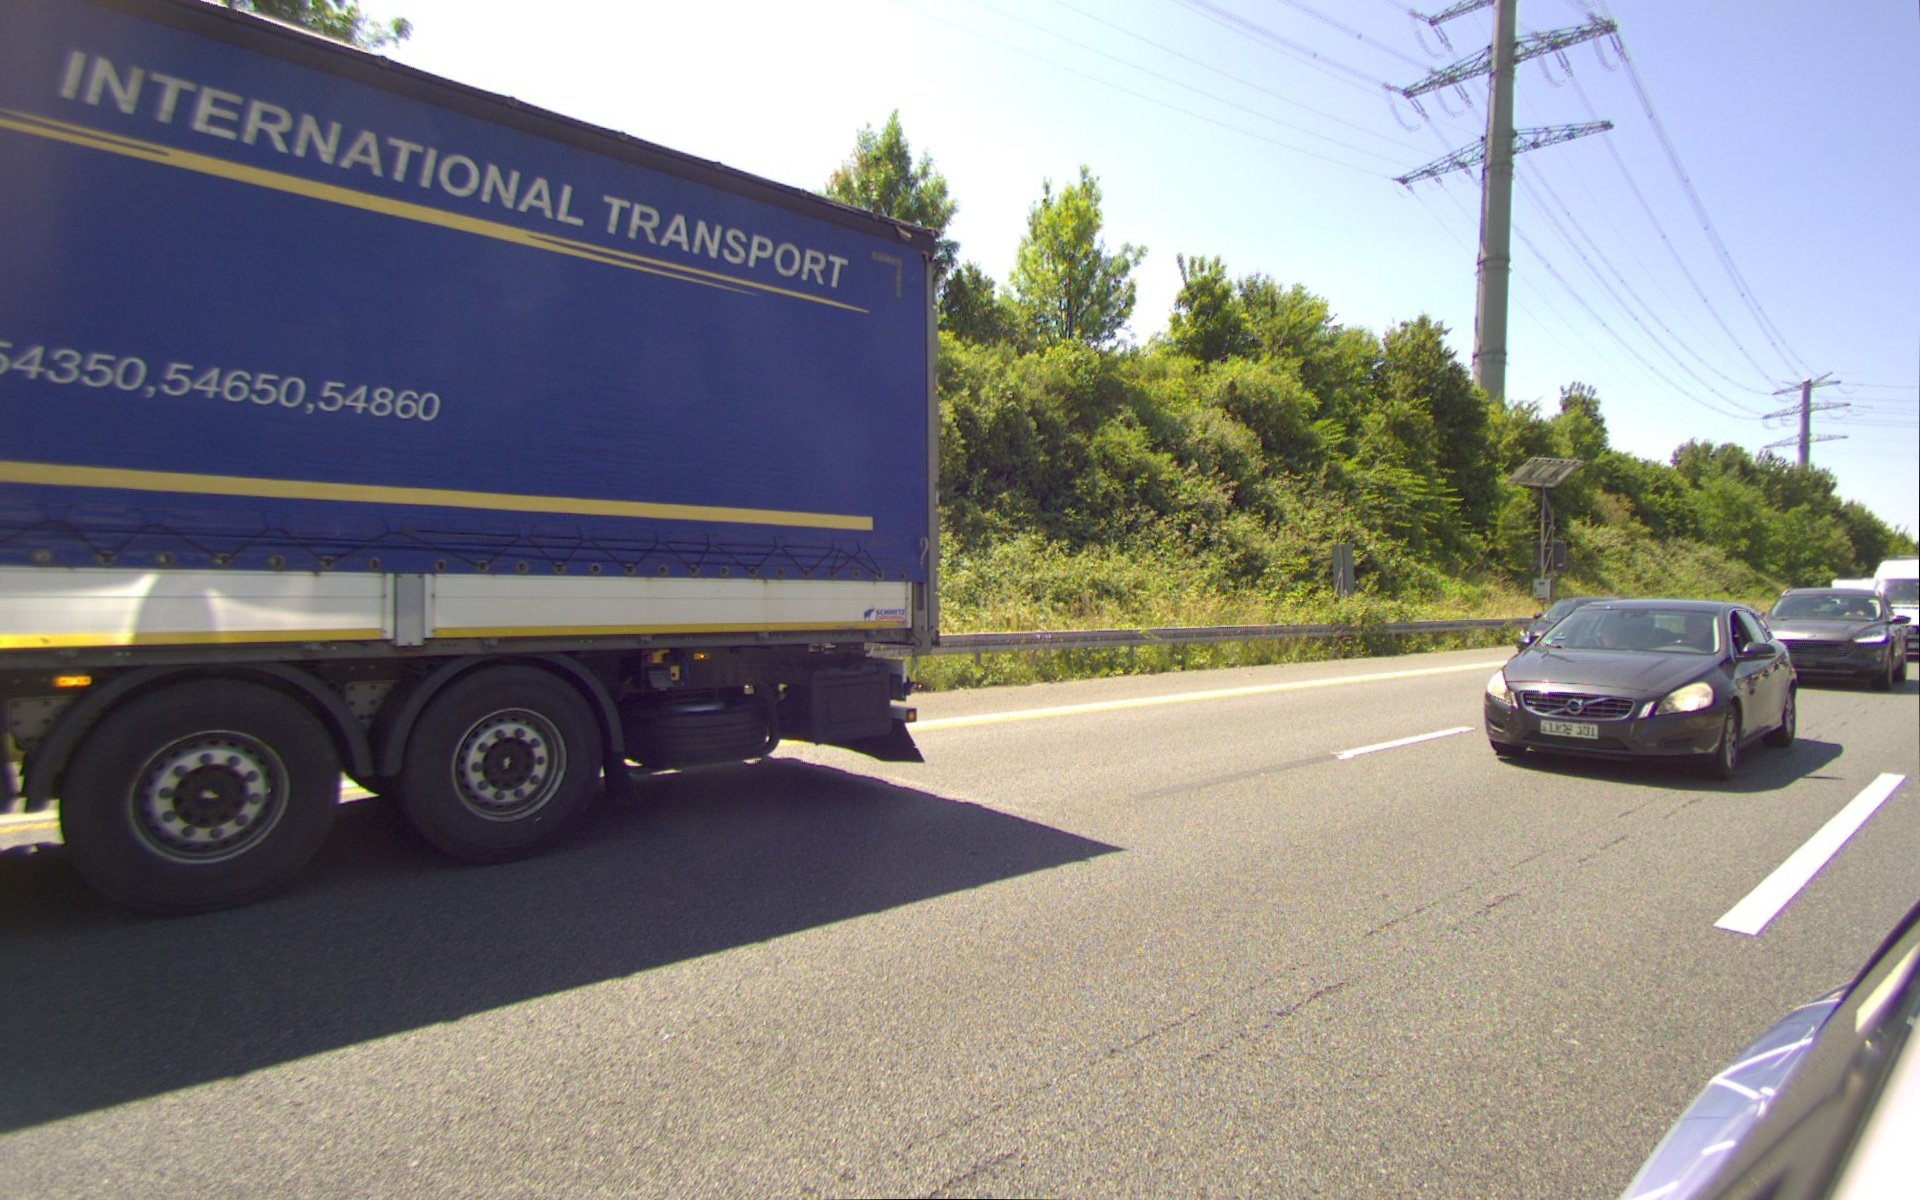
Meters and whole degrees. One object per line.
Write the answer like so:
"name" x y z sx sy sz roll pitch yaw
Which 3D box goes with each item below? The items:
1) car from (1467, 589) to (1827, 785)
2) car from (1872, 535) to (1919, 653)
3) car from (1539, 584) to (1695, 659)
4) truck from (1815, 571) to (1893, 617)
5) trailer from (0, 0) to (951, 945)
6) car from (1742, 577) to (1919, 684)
"car" 6.665 0.626 9.612 4.432 1.437 1.797 -1 0 -42
"car" 24.945 -0.163 25.623 6.590 2.753 2.040 -1 0 -42
"car" 14.990 0.421 22.984 4.770 1.531 1.794 -1 0 -42
"truck" 45.583 -0.316 51.572 5.629 2.195 2.251 -1 0 -41
"trailer" -5.702 -0.804 4.058 12.656 4.317 2.771 -1 0 -42
"car" 15.228 0.446 17.554 4.147 1.631 1.891 -1 0 -42
